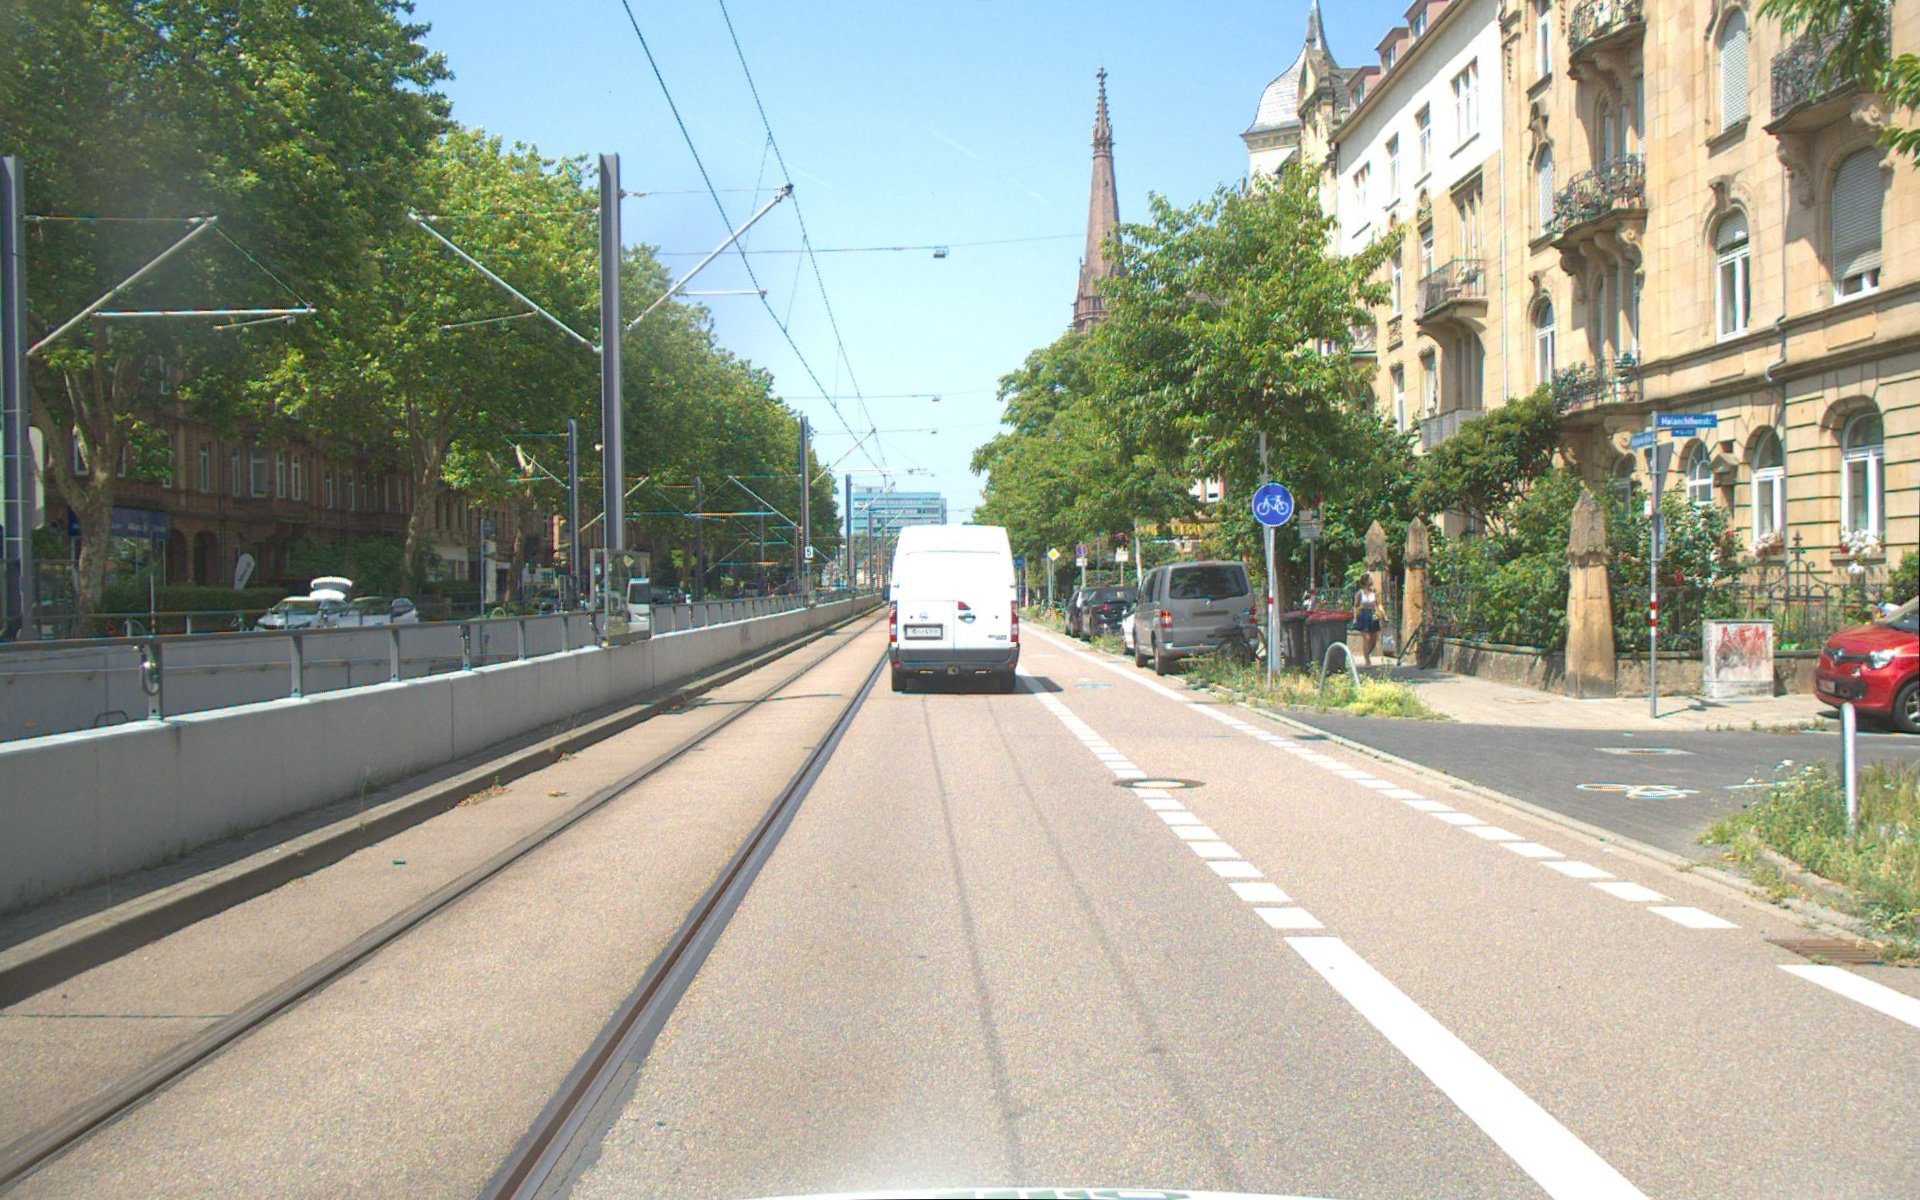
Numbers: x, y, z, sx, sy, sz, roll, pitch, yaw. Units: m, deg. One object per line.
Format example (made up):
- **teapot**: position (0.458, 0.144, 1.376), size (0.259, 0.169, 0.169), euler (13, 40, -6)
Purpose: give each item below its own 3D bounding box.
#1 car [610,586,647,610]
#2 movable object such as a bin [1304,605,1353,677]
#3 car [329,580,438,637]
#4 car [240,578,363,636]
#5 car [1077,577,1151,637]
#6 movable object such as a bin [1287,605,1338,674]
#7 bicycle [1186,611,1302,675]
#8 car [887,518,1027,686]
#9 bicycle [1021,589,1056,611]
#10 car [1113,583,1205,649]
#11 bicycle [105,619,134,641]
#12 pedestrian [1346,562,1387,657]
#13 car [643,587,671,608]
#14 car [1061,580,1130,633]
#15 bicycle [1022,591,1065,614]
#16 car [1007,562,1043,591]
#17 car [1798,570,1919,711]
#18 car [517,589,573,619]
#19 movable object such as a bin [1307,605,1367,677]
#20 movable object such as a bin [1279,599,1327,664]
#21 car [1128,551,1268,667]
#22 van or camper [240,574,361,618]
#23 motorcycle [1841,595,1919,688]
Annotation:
- **car**: position (-21.252, -0.154, 106.112), size (1.560, 1.473, 4.000), euler (0, 1, -1)
- **movable object such as a bin**: position (5.668, 0.623, 25.445), size (0.655, 1.080, 0.496), euler (-1, 0, 5)
- **car**: position (-16.890, 0.225, 48.611), size (1.511, 1.589, 3.881), euler (0, 1, 6)
- **car**: position (-19.878, 0.168, 50.131), size (1.953, 1.653, 4.716), euler (0, 1, -2)
- **car**: position (4.263, 0.164, 46.220), size (1.633, 1.557, 4.012), euler (-1, 1, -1)
- **movable object such as a bin**: position (5.554, 0.617, 26.082), size (0.730, 1.080, 0.496), euler (0, 0, 5)
- **bicycle**: position (4.732, 0.710, 27.531), size (1.847, 1.009, 0.469), euler (-1, 0, -11)
- **car**: position (-0.131, 0.001, 27.159), size (2.074, 2.502, 5.052), euler (0, 1, -2)
- **bicycle**: position (4.323, -0.005, 90.858), size (1.850, 1.202, 0.640), euler (-1, 0, -3)
- **car**: position (4.560, 0.328, 38.385), size (1.578, 1.430, 3.999), euler (-1, 1, -1)
- **bicycle**: position (-26.250, 0.929, 51.684), size (0.274, 0.662, 1.343), euler (-1, 0, -3)
- **pedestrian**: position (7.063, 0.160, 28.766), size (0.540, 1.626, 0.728), euler (0, 0, 1)
- **car**: position (-20.879, -0.175, 114.180), size (1.345, 1.448, 3.088), euler (-1, 0, 0)
- **car**: position (4.192, 0.165, 51.763), size (1.694, 1.562, 4.403), euler (0, 1, -2)
- **bicycle**: position (3.584, 0.095, 71.162), size (1.804, 0.970, 0.503), euler (-1, 0, 0)
- **car**: position (3.965, -1.416, 101.118), size (2.112, 1.699, 4.001), euler (0, 1, 1)
- **car**: position (11.508, 0.408, 18.588), size (3.380, 1.517, 1.555), euler (-1, 0, 1)
- **car**: position (-20.607, 0.161, 82.319), size (1.814, 1.425, 4.196), euler (0, 1, -2)
- **movable object such as a bin**: position (5.644, 0.609, 24.794), size (0.771, 1.031, 0.650), euler (-1, 0, 5)
- **movable object such as a bin**: position (5.542, 0.498, 26.745), size (0.585, 1.028, 0.564), euler (0, 0, -11)
- **car**: position (4.448, 0.130, 31.577), size (1.841, 1.981, 4.836), euler (-2, 1, -1)
- **van or camper**: position (-28.645, -0.176, 71.877), size (4.448, 1.869, 1.933), euler (-1, 0, 5)
- **motorcycle**: position (12.257, 0.526, 21.374), size (1.473, 1.184, 0.469), euler (-1, 0, 1)
